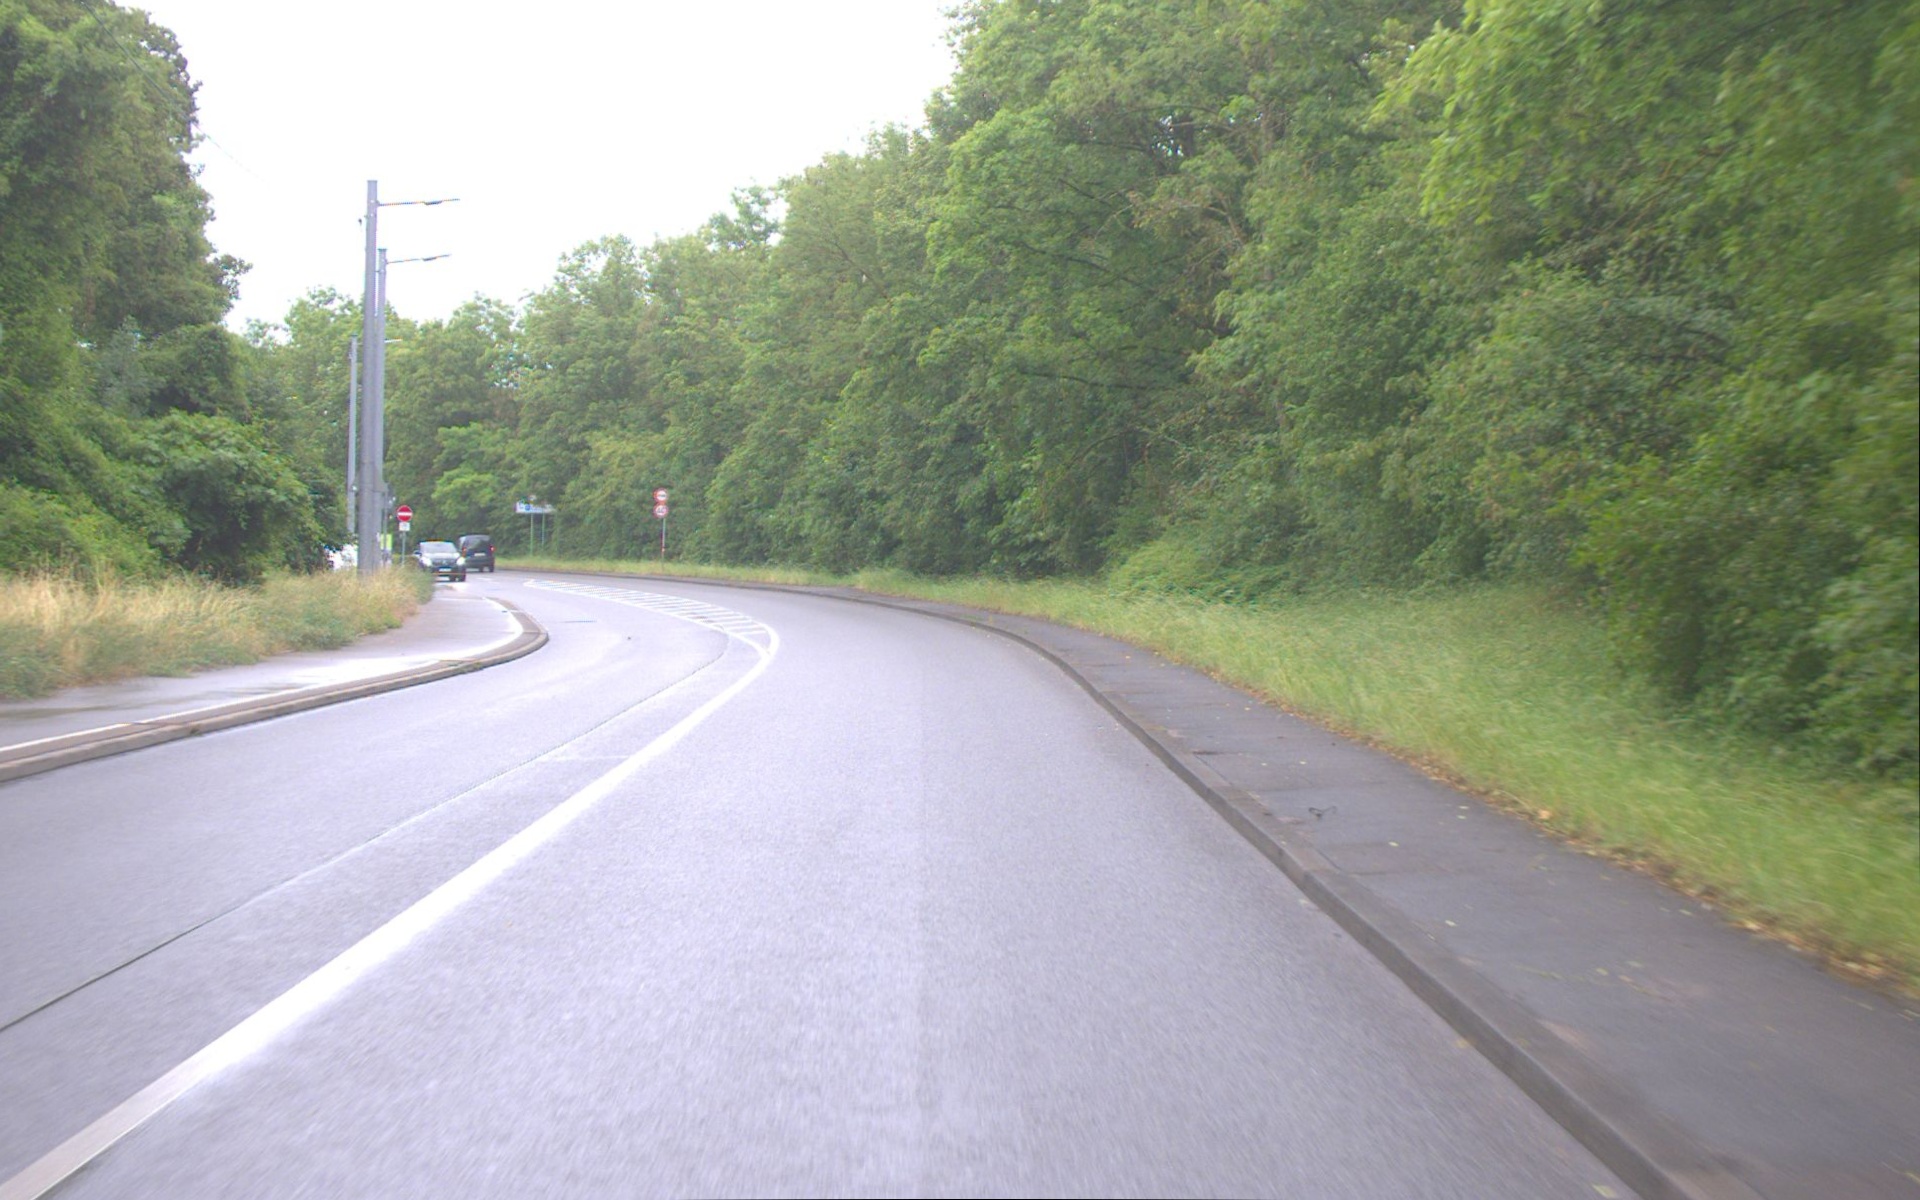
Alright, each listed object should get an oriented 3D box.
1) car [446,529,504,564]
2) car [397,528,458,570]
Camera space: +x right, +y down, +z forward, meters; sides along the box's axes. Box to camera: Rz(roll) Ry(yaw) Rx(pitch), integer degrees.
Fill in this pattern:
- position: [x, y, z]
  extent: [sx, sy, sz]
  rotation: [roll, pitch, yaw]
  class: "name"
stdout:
- position: [-24.210, -2.665, 171.473]
  extent: [1.867, 1.590, 4.001]
  rotation: [2, 1, -22]
  class: "car"
- position: [-23.185, -2.214, 149.509]
  extent: [1.993, 1.781, 4.709]
  rotation: [-1, 1, -17]
  class: "car"
